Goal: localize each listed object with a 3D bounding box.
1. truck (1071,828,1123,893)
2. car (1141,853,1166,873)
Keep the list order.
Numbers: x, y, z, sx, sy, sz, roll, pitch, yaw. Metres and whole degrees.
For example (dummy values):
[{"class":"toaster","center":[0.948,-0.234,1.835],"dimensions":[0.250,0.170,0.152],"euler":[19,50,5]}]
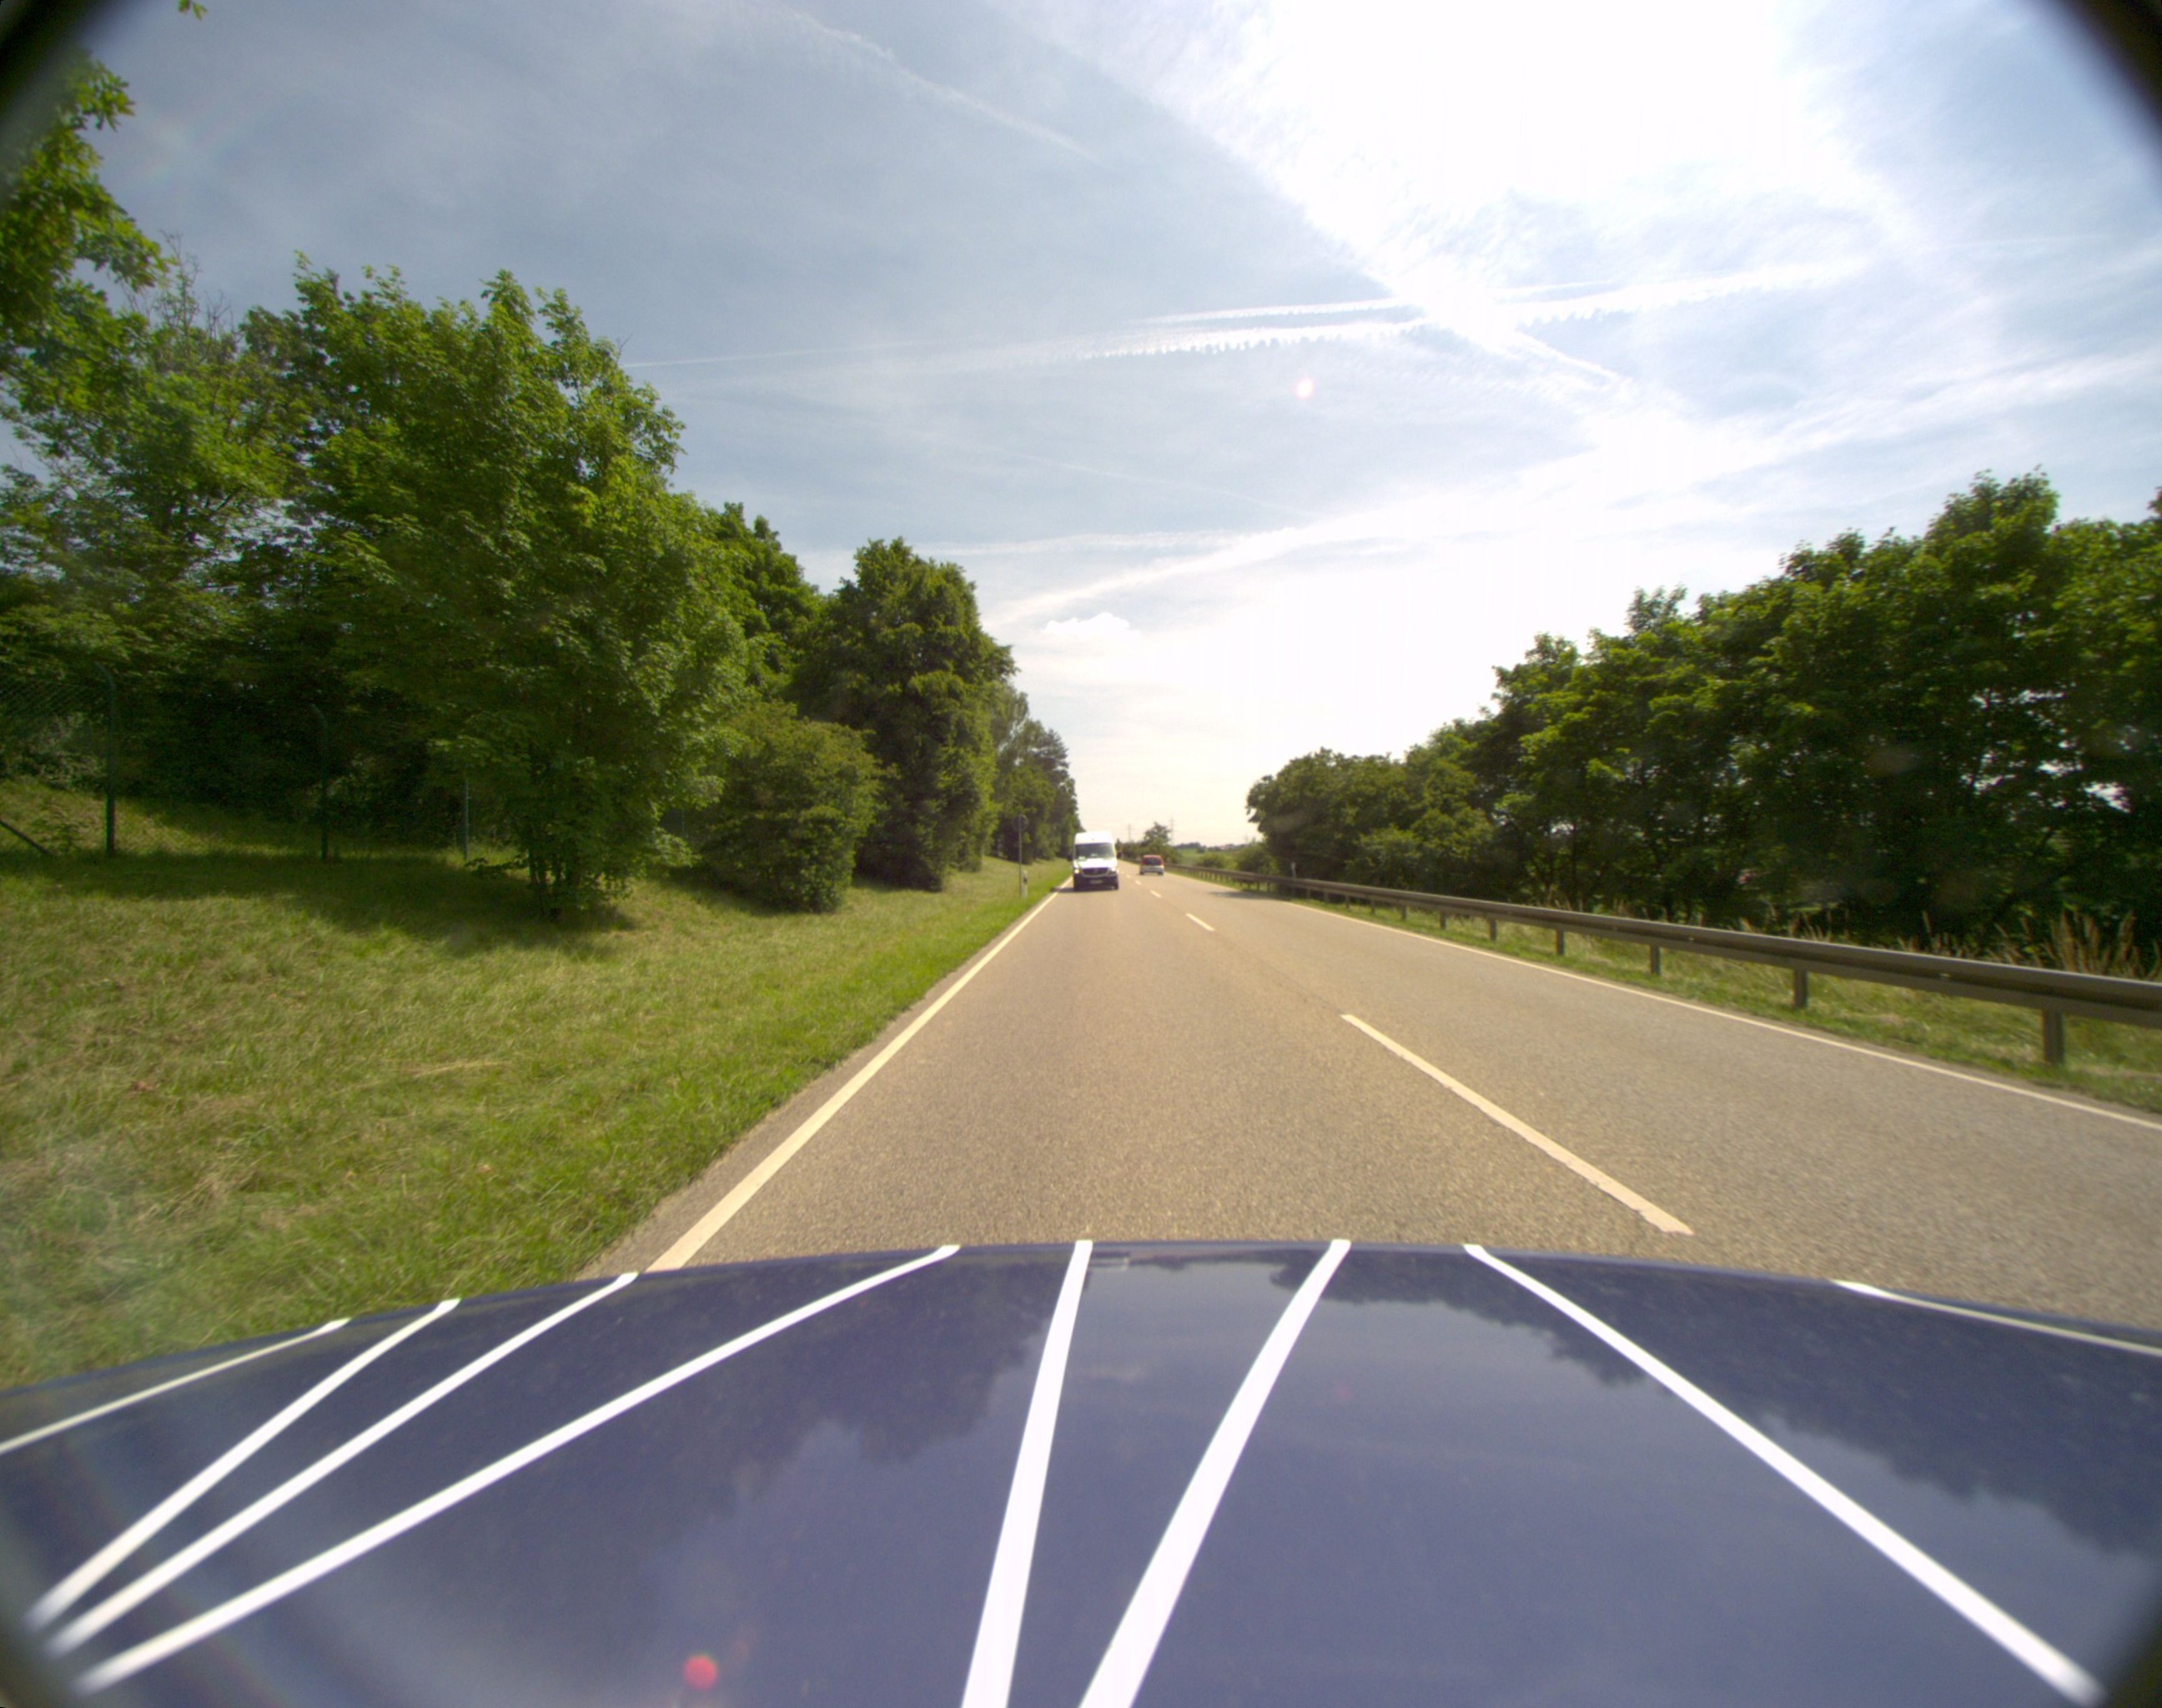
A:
[{"class":"truck","center":[0.711,0.251,33.858],"dimensions":[2.022,2.567,7.226],"euler":[-1,0,1]},{"class":"car","center":[5.505,0.667,57.813],"dimensions":[1.561,1.454,3.549],"euler":[2,0,1]}]
